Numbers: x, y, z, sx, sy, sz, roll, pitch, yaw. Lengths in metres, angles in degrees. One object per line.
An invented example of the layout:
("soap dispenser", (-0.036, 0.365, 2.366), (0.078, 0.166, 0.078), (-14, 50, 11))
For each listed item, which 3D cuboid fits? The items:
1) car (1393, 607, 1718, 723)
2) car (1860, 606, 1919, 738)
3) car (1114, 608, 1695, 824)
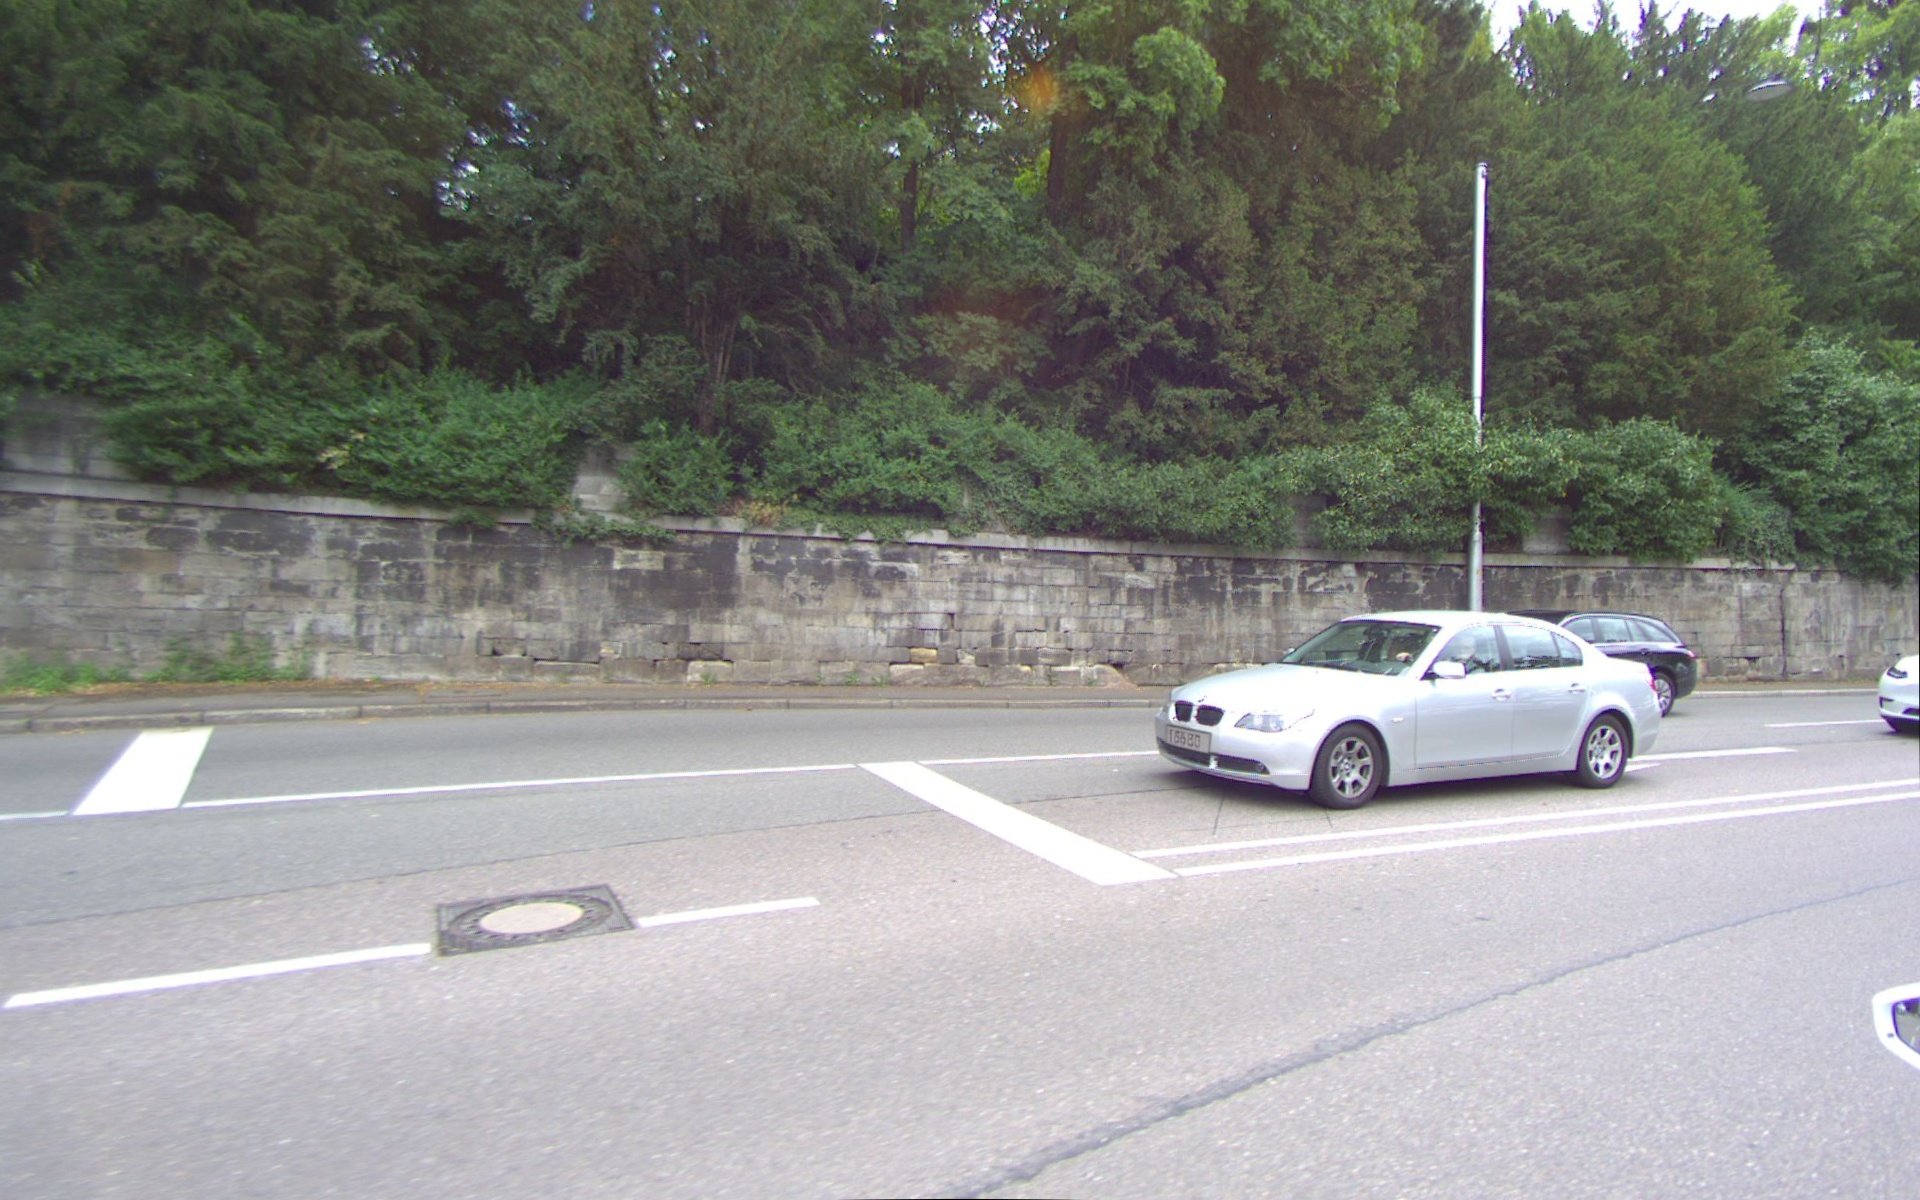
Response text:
("car", (8.522, 0.871, 14.458), (3.982, 1.471, 1.733), (0, 1, -15))
("car", (13.832, 0.874, 12.586), (4.716, 1.575, 1.835), (0, 0, -20))
("car", (3.932, 0.836, 8.845), (4.810, 1.489, 1.989), (0, -1, -24))
